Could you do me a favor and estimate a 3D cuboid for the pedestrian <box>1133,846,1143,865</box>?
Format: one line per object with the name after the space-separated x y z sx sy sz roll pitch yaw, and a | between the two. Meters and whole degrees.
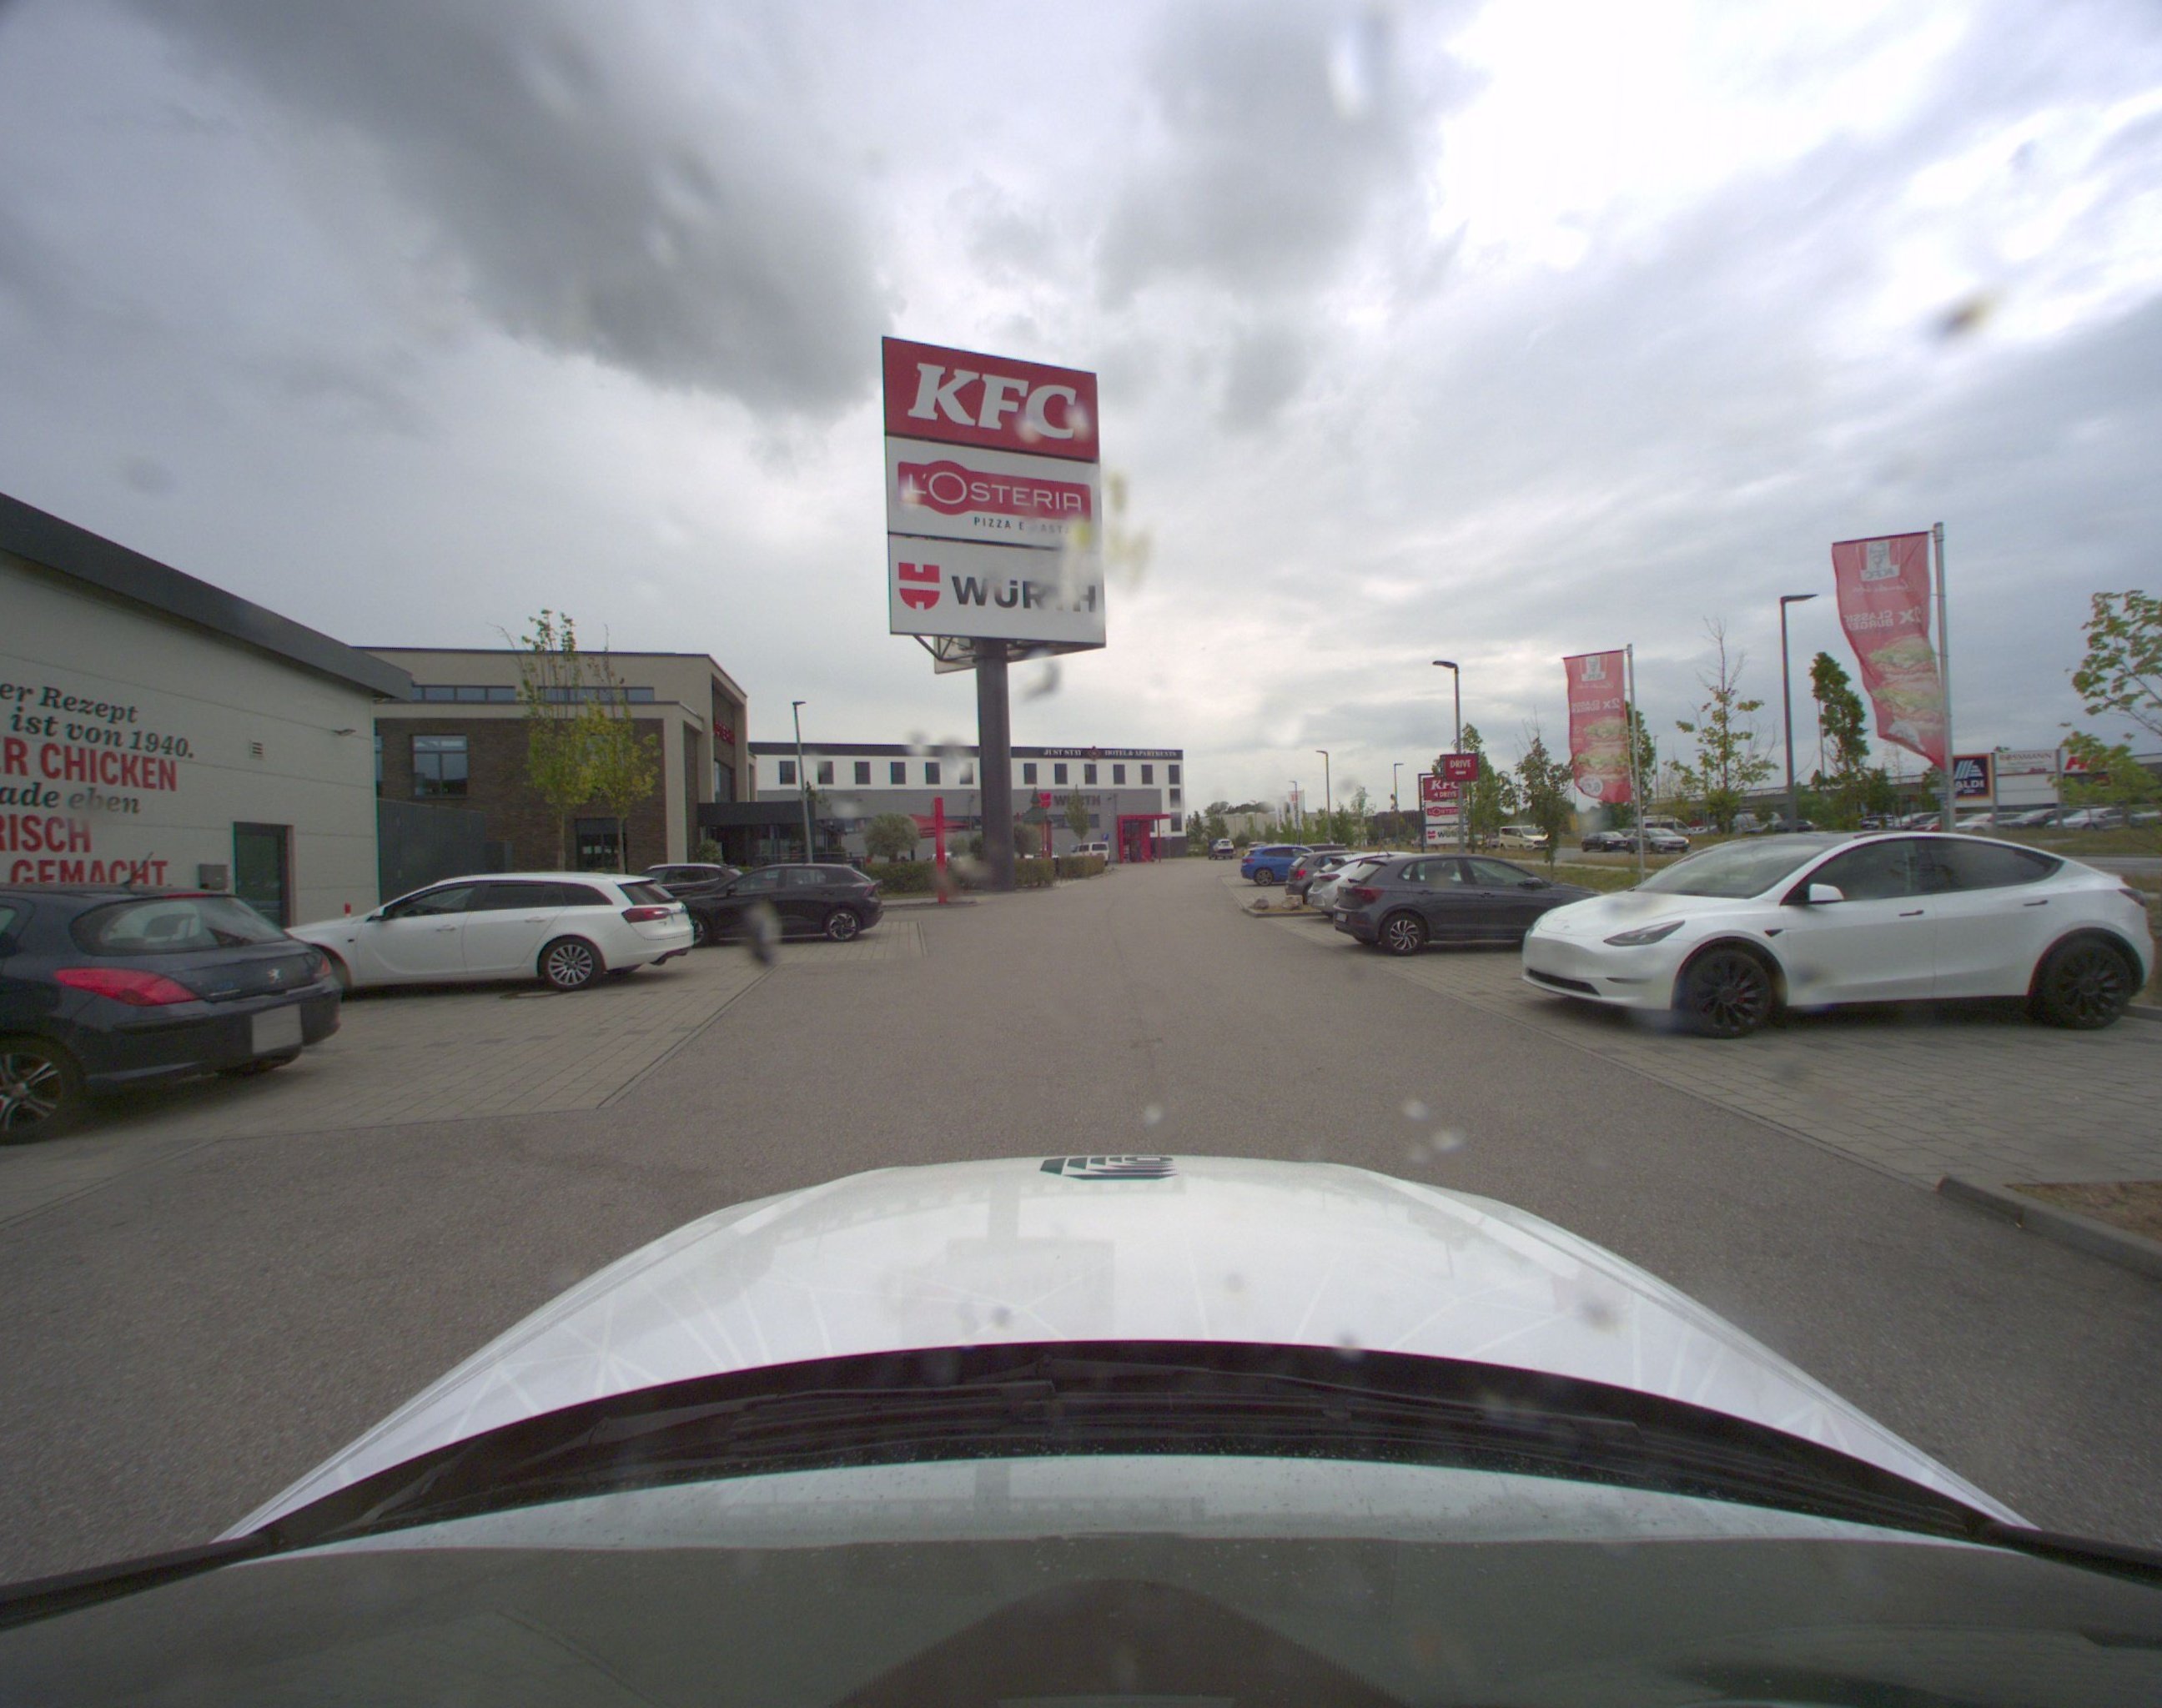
5.367 0.144 76.991 0.678 1.802 0.876 1 0 -15 | pedestrian

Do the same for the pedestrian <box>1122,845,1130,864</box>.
4.251 0.040 77.038 0.623 1.751 0.904 -2 0 -5 | pedestrian

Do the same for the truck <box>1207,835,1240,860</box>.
15.868 -0.662 91.163 2.324 2.407 7.893 -1 -2 0 | truck

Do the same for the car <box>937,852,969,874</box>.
-10.247 0.740 64.915 1.742 1.552 4.235 -4 0 -19 | car

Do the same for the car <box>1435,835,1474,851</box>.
40.419 -1.176 88.242 1.792 1.552 4.850 -4 0 -2 | car

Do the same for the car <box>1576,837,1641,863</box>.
34.315 -0.269 53.085 1.840 1.499 4.294 -3 0 7 | car

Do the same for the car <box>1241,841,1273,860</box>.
16.086 -0.310 74.577 1.853 1.650 3.995 -1 0 -3 | car

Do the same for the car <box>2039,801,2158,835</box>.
55.868 -1.952 44.751 4.029 1.539 1.999 -4 0 -1 | car

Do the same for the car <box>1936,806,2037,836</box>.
56.745 -2.066 51.089 4.043 1.501 1.867 -4 0 3 | car

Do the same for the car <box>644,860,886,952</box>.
-5.941 0.943 15.805 4.113 1.528 1.734 -1 -1 -12 | car

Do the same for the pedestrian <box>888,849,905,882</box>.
-10.236 0.622 45.146 0.742 1.748 0.700 -4 0 -15 | pedestrian

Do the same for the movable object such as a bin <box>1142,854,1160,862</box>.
6.571 0.393 76.366 1.491 0.704 0.960 -2 0 -16 | movable object such as a bin

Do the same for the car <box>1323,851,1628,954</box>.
5.781 0.680 12.309 3.780 1.412 1.740 -1 0 3 | car

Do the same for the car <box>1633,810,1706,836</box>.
60.069 -3.135 83.259 5.546 2.121 2.346 -4 0 8 | car

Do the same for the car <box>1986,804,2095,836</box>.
56.144 -1.975 47.711 4.029 1.539 1.999 -4 0 -1 | car

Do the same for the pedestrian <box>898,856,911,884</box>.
-7.601 0.684 35.106 0.419 1.199 0.455 -4 0 -7 | pedestrian

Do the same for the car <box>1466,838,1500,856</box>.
32.936 -0.558 66.796 1.454 1.336 3.168 -3 0 5 | car

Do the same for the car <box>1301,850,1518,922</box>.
6.828 0.647 17.264 3.909 1.412 1.842 -1 0 3 | car

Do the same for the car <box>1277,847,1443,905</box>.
7.425 0.578 21.995 3.966 1.428 1.731 -1 0 6 | car

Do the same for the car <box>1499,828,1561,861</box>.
31.790 -0.696 57.863 1.983 2.086 5.242 -3 1 7 | car

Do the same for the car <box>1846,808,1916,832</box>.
73.502 -3.115 74.901 1.995 1.837 4.169 -4 0 -12 | car

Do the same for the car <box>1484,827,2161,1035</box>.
6.331 0.584 7.292 4.519 1.541 1.924 -1 0 -2 | car

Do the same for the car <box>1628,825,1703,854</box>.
33.133 -0.800 46.327 1.813 1.459 4.011 -4 0 9 | car

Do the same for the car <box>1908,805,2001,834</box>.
57.479 -2.257 53.623 4.029 1.539 1.907 -4 0 -1 | car

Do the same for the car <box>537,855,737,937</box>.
-10.669 0.966 19.913 4.002 1.596 1.724 -4 0 -21 | car

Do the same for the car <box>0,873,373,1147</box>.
-7.399 0.925 5.217 3.929 1.487 1.752 -1 0 -12 | car

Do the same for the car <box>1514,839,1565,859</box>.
35.201 -0.359 62.648 1.755 1.394 4.224 -3 0 4 | car

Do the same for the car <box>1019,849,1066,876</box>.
-2.666 0.581 55.025 1.999 1.650 4.551 -4 0 -17 | car

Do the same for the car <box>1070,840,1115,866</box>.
0.921 -0.070 68.212 2.066 1.855 4.027 -7 1 -26 | car

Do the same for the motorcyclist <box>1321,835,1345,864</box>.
13.475 -0.262 43.570 0.934 1.489 0.831 -3 0 2 | motorcyclist

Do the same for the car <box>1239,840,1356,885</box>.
8.365 0.331 31.775 4.177 1.544 1.869 -2 0 8 | car

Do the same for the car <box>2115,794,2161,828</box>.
55.233 -2.259 41.140 3.740 1.539 1.772 -4 0 -1 | car

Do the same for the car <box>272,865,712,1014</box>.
-7.398 1.003 10.749 4.168 1.486 1.992 -2 1 -12 | car
